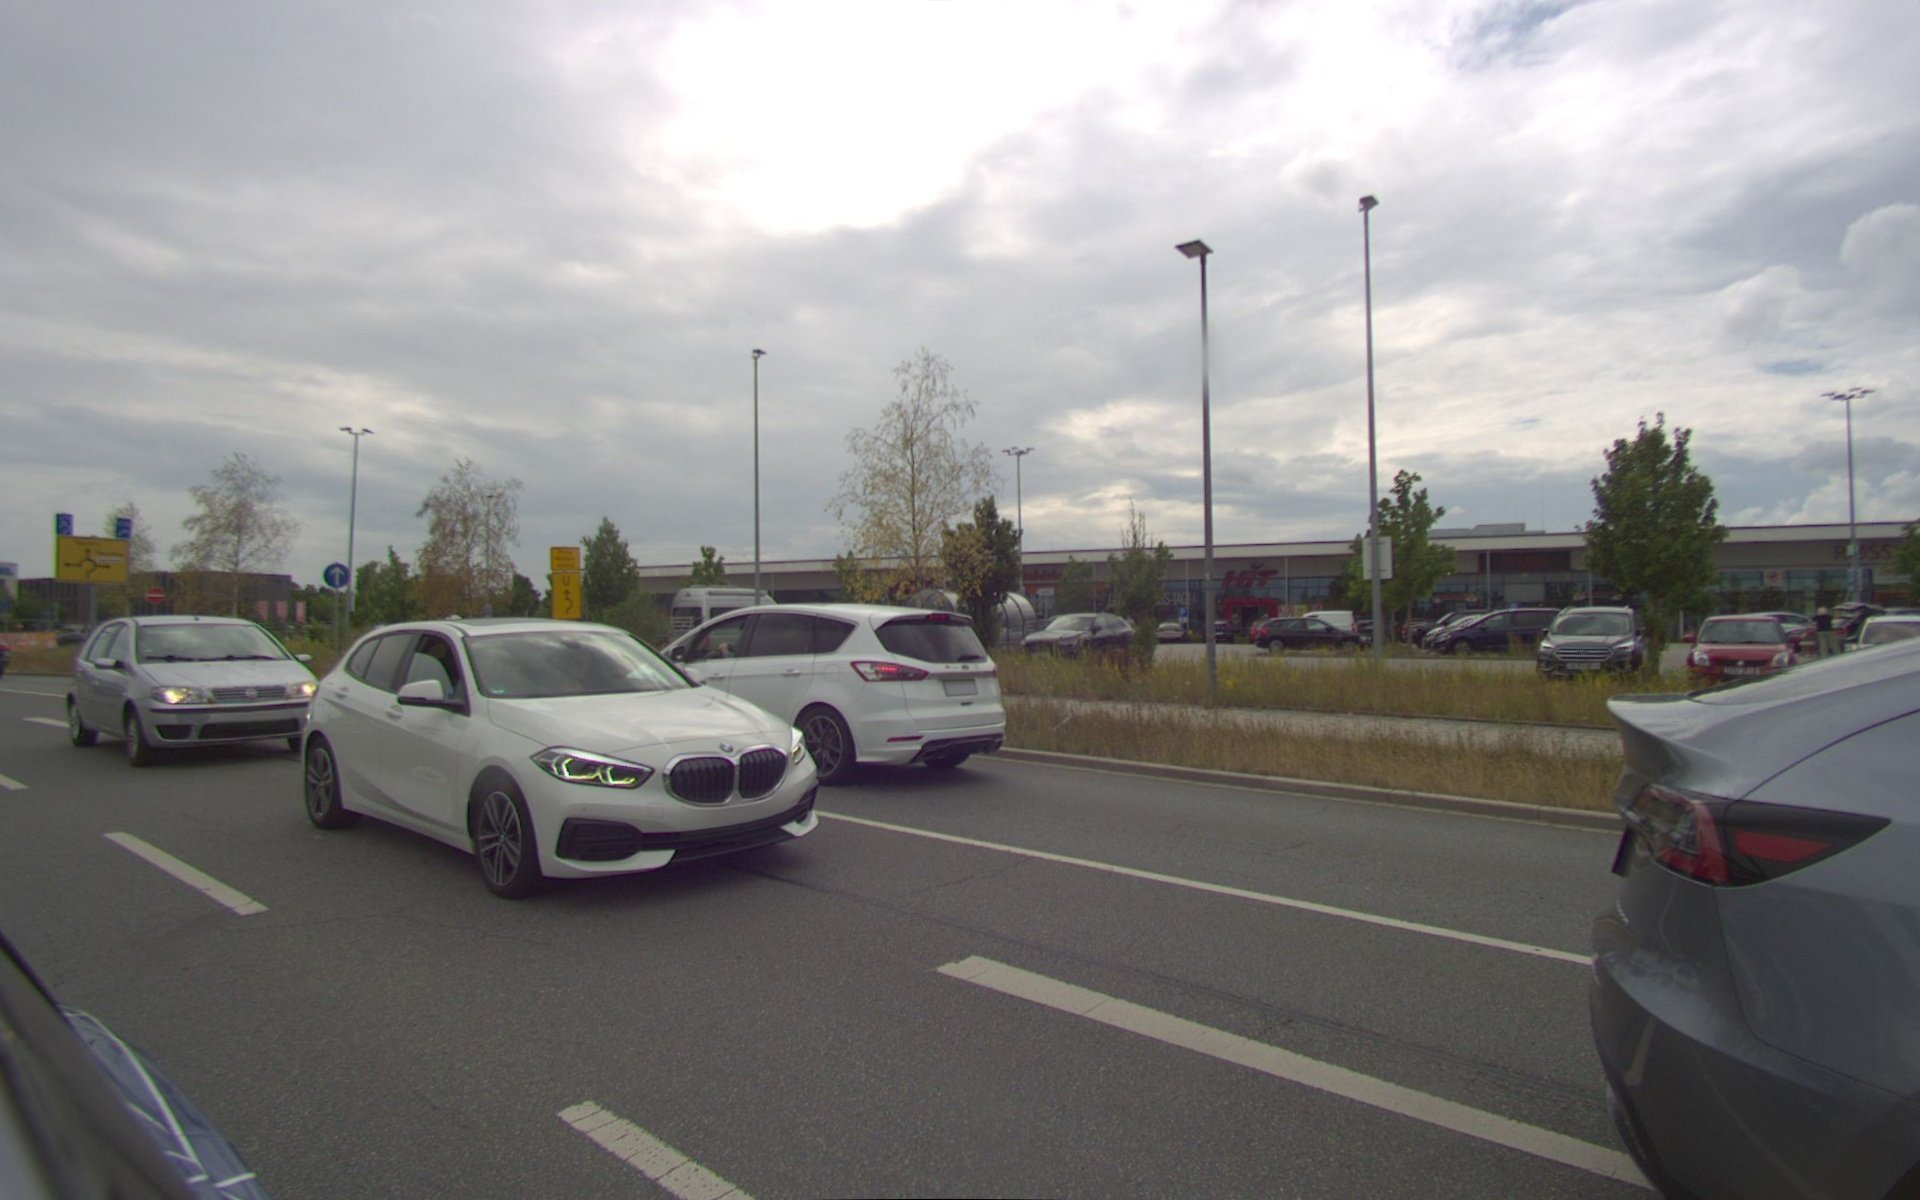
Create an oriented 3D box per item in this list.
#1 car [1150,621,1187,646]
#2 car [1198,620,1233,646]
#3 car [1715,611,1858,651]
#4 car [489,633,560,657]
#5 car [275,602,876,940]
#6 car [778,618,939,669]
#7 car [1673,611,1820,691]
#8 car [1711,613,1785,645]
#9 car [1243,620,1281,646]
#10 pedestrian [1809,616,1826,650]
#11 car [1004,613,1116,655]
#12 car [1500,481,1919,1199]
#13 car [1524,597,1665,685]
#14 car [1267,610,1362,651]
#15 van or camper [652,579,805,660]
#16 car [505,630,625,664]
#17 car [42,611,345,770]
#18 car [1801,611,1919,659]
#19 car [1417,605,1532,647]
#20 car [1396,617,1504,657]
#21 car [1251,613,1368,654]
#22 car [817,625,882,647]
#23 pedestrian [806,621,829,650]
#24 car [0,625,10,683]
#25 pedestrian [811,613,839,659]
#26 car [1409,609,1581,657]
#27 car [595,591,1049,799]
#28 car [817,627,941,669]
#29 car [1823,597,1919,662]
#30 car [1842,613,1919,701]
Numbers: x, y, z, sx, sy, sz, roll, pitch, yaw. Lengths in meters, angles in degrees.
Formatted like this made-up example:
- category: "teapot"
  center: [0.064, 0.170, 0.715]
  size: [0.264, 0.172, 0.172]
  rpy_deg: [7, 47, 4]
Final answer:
- category: "car"
  center: [12.747, 2.027, 61.751]
  size: [1.985, 1.493, 4.033]
  rpy_deg: [-1, -2, 14]
- category: "car"
  center: [15.351, 1.983, 60.869]
  size: [1.985, 1.493, 4.033]
  rpy_deg: [-1, -2, 14]
- category: "car"
  center: [33.204, 1.267, 40.801]
  size: [3.969, 1.557, 1.987]
  rpy_deg: [-1, -2, 20]
- category: "car"
  center: [-28.277, 2.919, 65.735]
  size: [4.163, 1.463, 1.820]
  rpy_deg: [-1, -2, 20]
- category: "car"
  center: [-2.673, 0.788, 6.533]
  size: [4.190, 1.480, 1.860]
  rpy_deg: [-1, -2, 41]
- category: "car"
  center: [-2.662, 1.139, 27.220]
  size: [2.010, 1.269, 4.038]
  rpy_deg: [-2, -2, 40]
- category: "car"
  center: [15.608, 0.953, 20.003]
  size: [1.999, 1.402, 4.041]
  rpy_deg: [-2, -2, 42]
- category: "car"
  center: [41.589, 1.512, 53.521]
  size: [2.072, 1.619, 3.968]
  rpy_deg: [-1, -2, 23]
- category: "car"
  center: [18.050, 1.947, 60.629]
  size: [1.985, 1.493, 4.033]
  rpy_deg: [-1, -2, 14]
- category: "pedestrian"
  center: [27.123, 1.034, 32.010]
  size: [0.384, 1.057, 0.270]
  rpy_deg: [0, -1, -28]
- category: "car"
  center: [4.786, 1.647, 48.494]
  size: [4.895, 1.914, 2.142]
  rpy_deg: [-1, -2, 24]
- category: "car"
  center: [3.367, 0.580, 1.053]
  size: [4.610, 1.573, 1.973]
  rpy_deg: [-2, -2, 41]
- category: "car"
  center: [13.637, 0.843, 21.627]
  size: [2.078, 1.667, 4.259]
  rpy_deg: [-2, -2, 38]
- category: "car"
  center: [17.343, 1.509, 49.726]
  size: [4.272, 1.888, 2.230]
  rpy_deg: [-1, -2, 19]
- category: "van or camper"
  center: [-8.573, 0.747, 38.153]
  size: [2.235, 2.821, 5.809]
  rpy_deg: [-1, -2, 31]
- category: "car"
  center: [-16.982, 1.996, 43.770]
  size: [2.133, 1.377, 4.535]
  rpy_deg: [-2, -2, 30]
- category: "car"
  center: [-8.533, 0.893, 11.161]
  size: [4.026, 1.449, 1.686]
  rpy_deg: [-2, -2, 38]
- category: "car"
  center: [30.420, 1.137, 33.152]
  size: [3.967, 1.519, 1.827]
  rpy_deg: [-1, -1, 18]
- category: "car"
  center: [21.442, 1.083, 42.347]
  size: [3.963, 1.697, 1.829]
  rpy_deg: [-1, -1, 15]
- category: "car"
  center: [21.527, 1.639, 44.625]
  size: [3.963, 1.697, 1.829]
  rpy_deg: [-1, -1, 15]
- category: "car"
  center: [13.459, 1.285, 39.200]
  size: [4.161, 1.530, 1.988]
  rpy_deg: [-1, -1, 18]
- category: "car"
  center: [-7.518, 2.439, 68.708]
  size: [3.979, 1.453, 1.982]
  rpy_deg: [-1, -2, 27]
- category: "pedestrian"
  center: [-8.306, 2.069, 58.999]
  size: [1.241, 1.619, 0.889]
  rpy_deg: [-1, -2, 2]
- category: "car"
  center: [-27.490, 1.441, 27.027]
  size: [4.748, 1.501, 1.773]
  rpy_deg: [-1, -3, 30]
- category: "pedestrian"
  center: [-5.688, 1.528, 42.763]
  size: [1.097, 1.904, 1.012]
  rpy_deg: [0, -2, -4]
- category: "car"
  center: [18.173, 1.123, 34.676]
  size: [5.077, 1.530, 1.983]
  rpy_deg: [-1, -1, 26]
- category: "car"
  center: [-1.578, 0.847, 10.366]
  size: [4.699, 1.649, 1.973]
  rpy_deg: [-2, -4, 40]
- category: "car"
  center: [-2.722, 1.600, 34.758]
  size: [2.007, 1.314, 4.287]
  rpy_deg: [-2, -2, 35]
- category: "car"
  center: [29.355, 0.874, 30.696]
  size: [4.404, 1.936, 1.831]
  rpy_deg: [-1, -1, 13]
- category: "car"
  center: [17.431, 0.967, 18.316]
  size: [2.008, 1.468, 4.276]
  rpy_deg: [-2, -2, 39]
